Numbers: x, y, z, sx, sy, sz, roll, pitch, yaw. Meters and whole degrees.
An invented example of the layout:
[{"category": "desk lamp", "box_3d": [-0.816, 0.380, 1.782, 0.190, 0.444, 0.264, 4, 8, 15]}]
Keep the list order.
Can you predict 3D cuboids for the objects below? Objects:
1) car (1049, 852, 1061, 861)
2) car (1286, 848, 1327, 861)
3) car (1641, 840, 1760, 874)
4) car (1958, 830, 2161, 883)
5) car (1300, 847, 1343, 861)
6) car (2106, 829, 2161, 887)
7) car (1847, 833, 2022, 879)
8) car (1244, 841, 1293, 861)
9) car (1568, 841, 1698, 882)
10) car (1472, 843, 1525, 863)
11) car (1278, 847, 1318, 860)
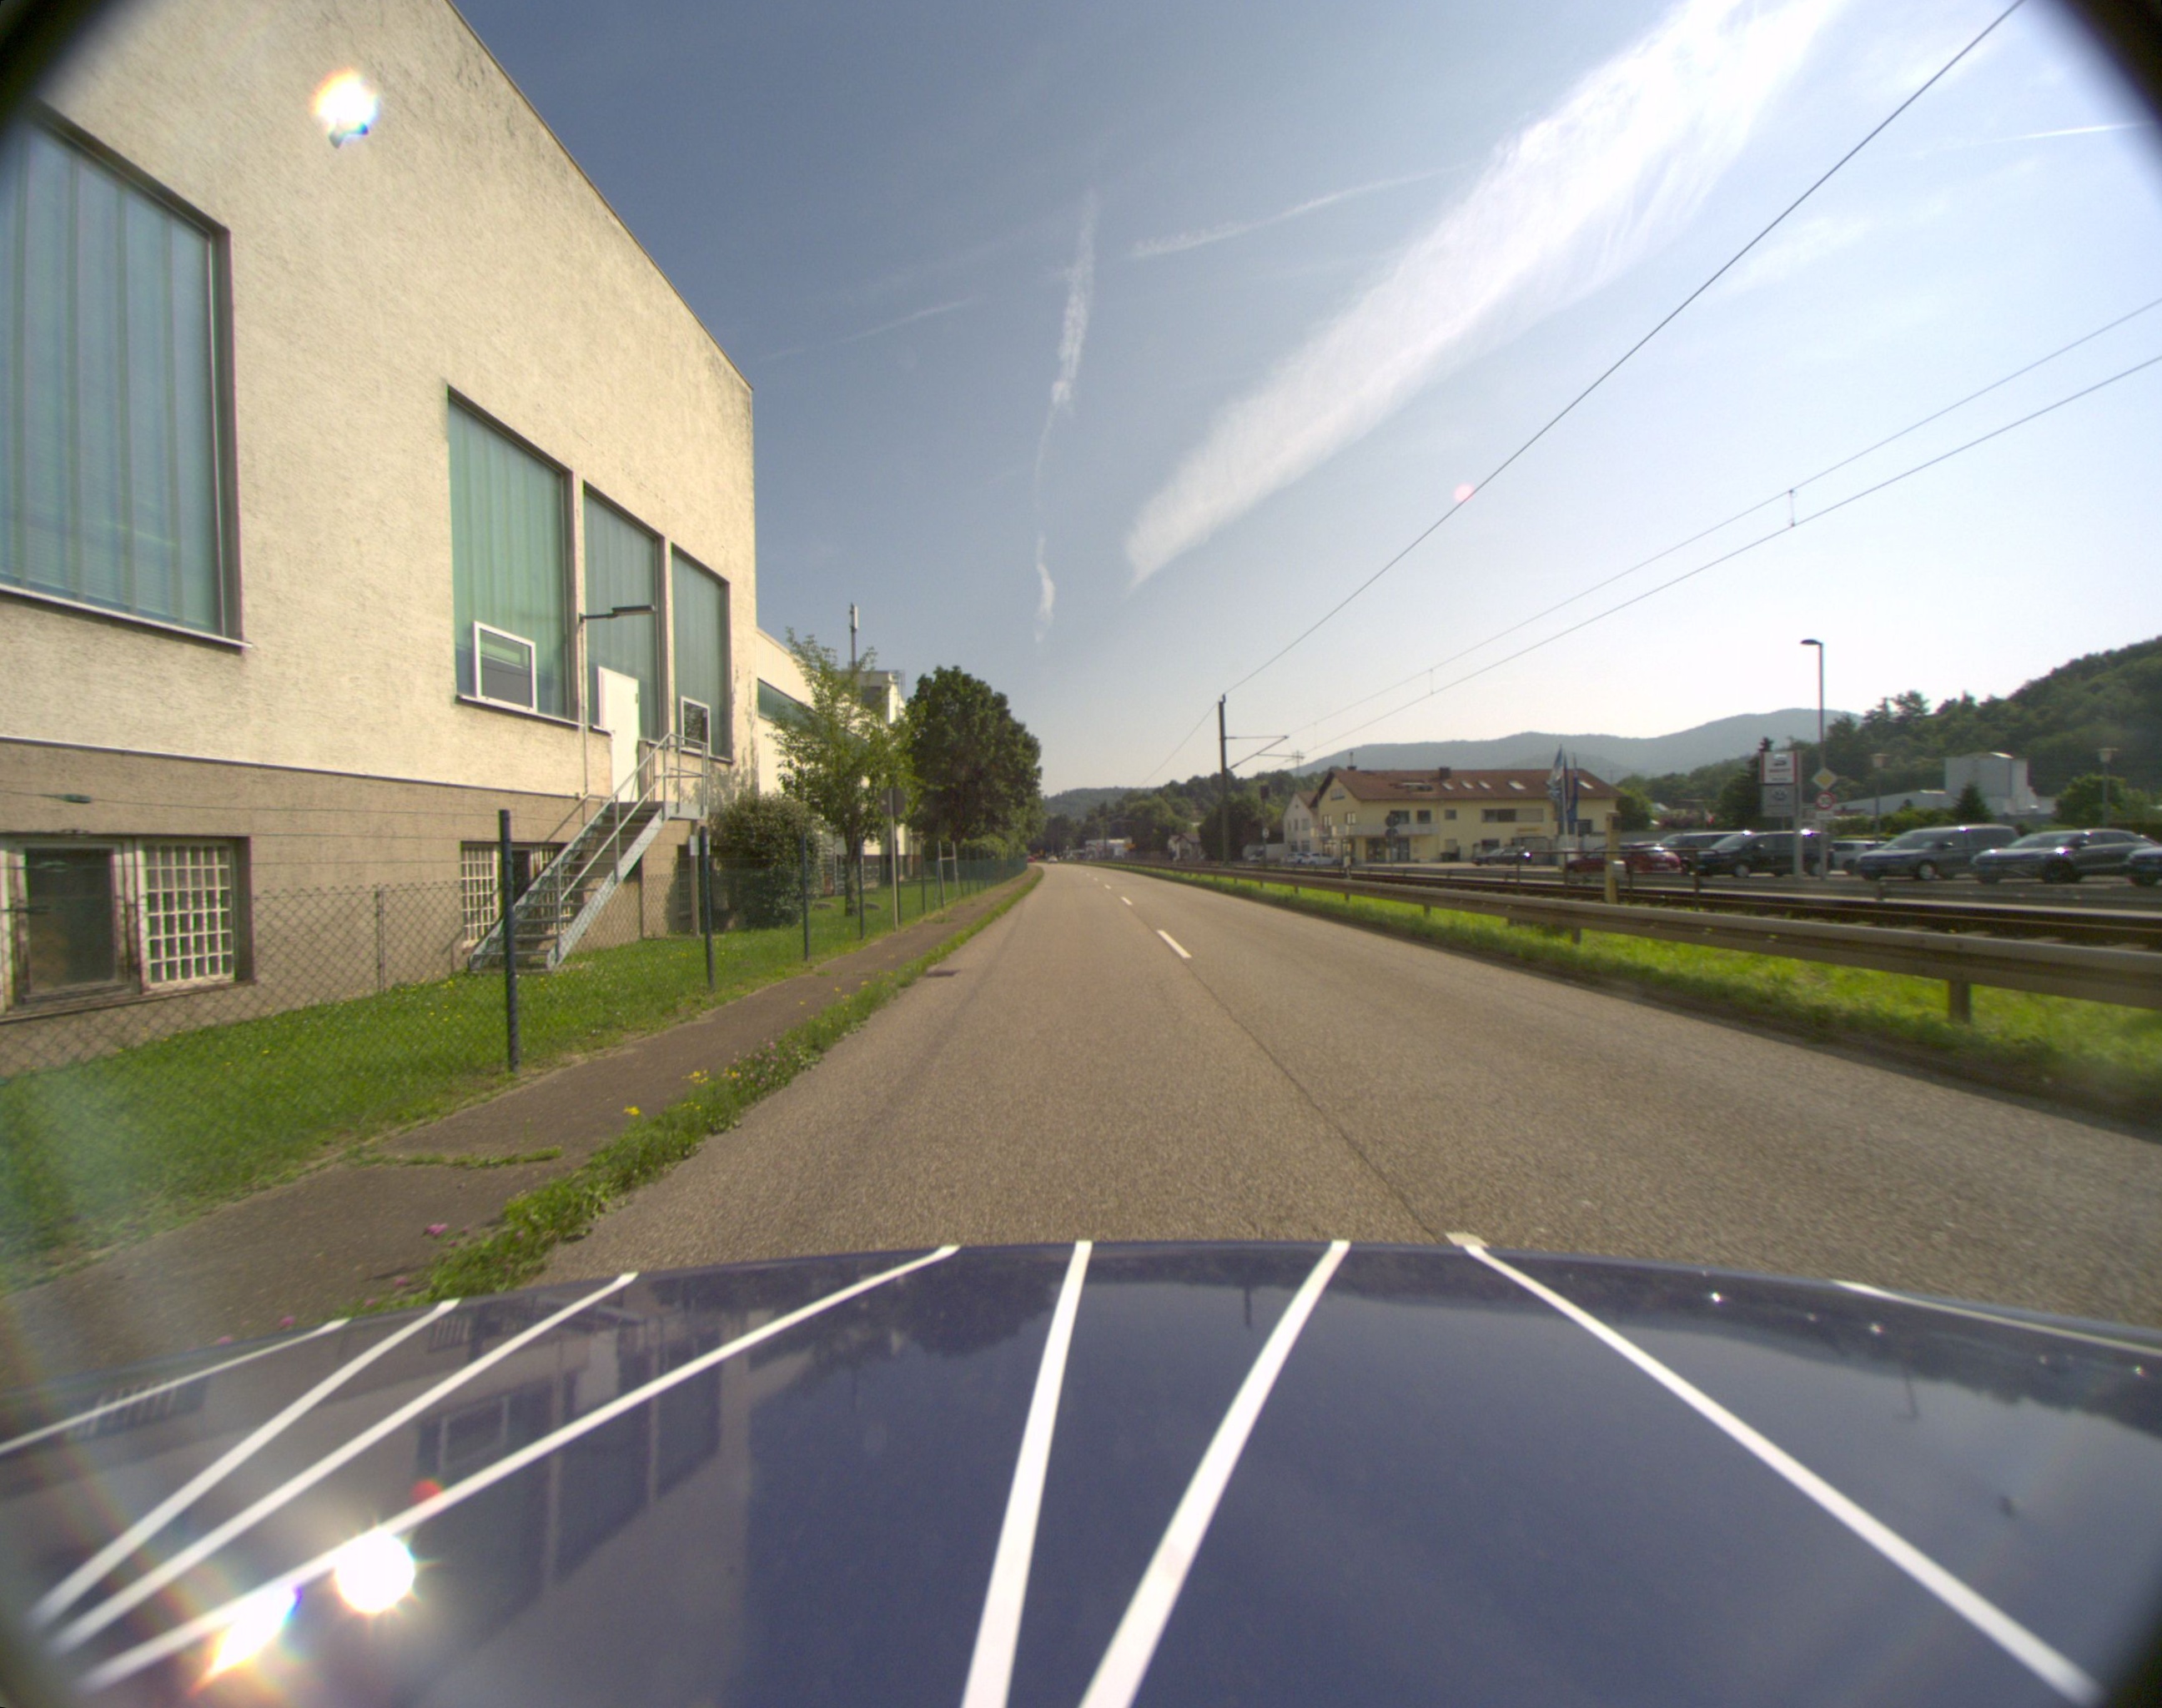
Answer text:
[{"category": "car", "box_3d": [-5.354, 0.536, 155.886, 2.000, 1.696, 3.996, -2, 0, -11]}, {"category": "car", "box_3d": [23.886, 0.033, 80.640, 3.857, 1.292, 1.648, -2, 1, -5]}, {"category": "car", "box_3d": [28.149, 0.134, 34.596, 3.997, 1.451, 1.760, -1, 0, 0]}, {"category": "car", "box_3d": [29.007, 0.066, 22.511, 3.997, 1.451, 1.760, -1, 0, 0]}, {"category": "car", "box_3d": [24.616, 0.022, 77.794, 3.857, 1.292, 1.648, -2, 1, -5]}, {"category": "car", "box_3d": [28.973, 0.076, 19.112, 3.997, 1.451, 1.760, -1, 0, 0]}, {"category": "car", "box_3d": [29.145, 0.065, 26.034, 3.997, 1.451, 1.760, -1, 0, 0]}, {"category": "car", "box_3d": [23.852, -0.409, 96.865, 5.587, 2.403, 2.236, -2, 1, -2]}, {"category": "car", "box_3d": [21.040, 0.255, 29.180, 1.860, 1.451, 3.998, -1, 0, -6]}, {"category": "car", "box_3d": [33.466, -0.099, 60.946, 3.539, 1.567, 1.651, -1, 1, 21]}, {"category": "car", "box_3d": [23.772, -0.041, 83.343, 3.857, 1.292, 1.648, -2, 1, -5]}]
